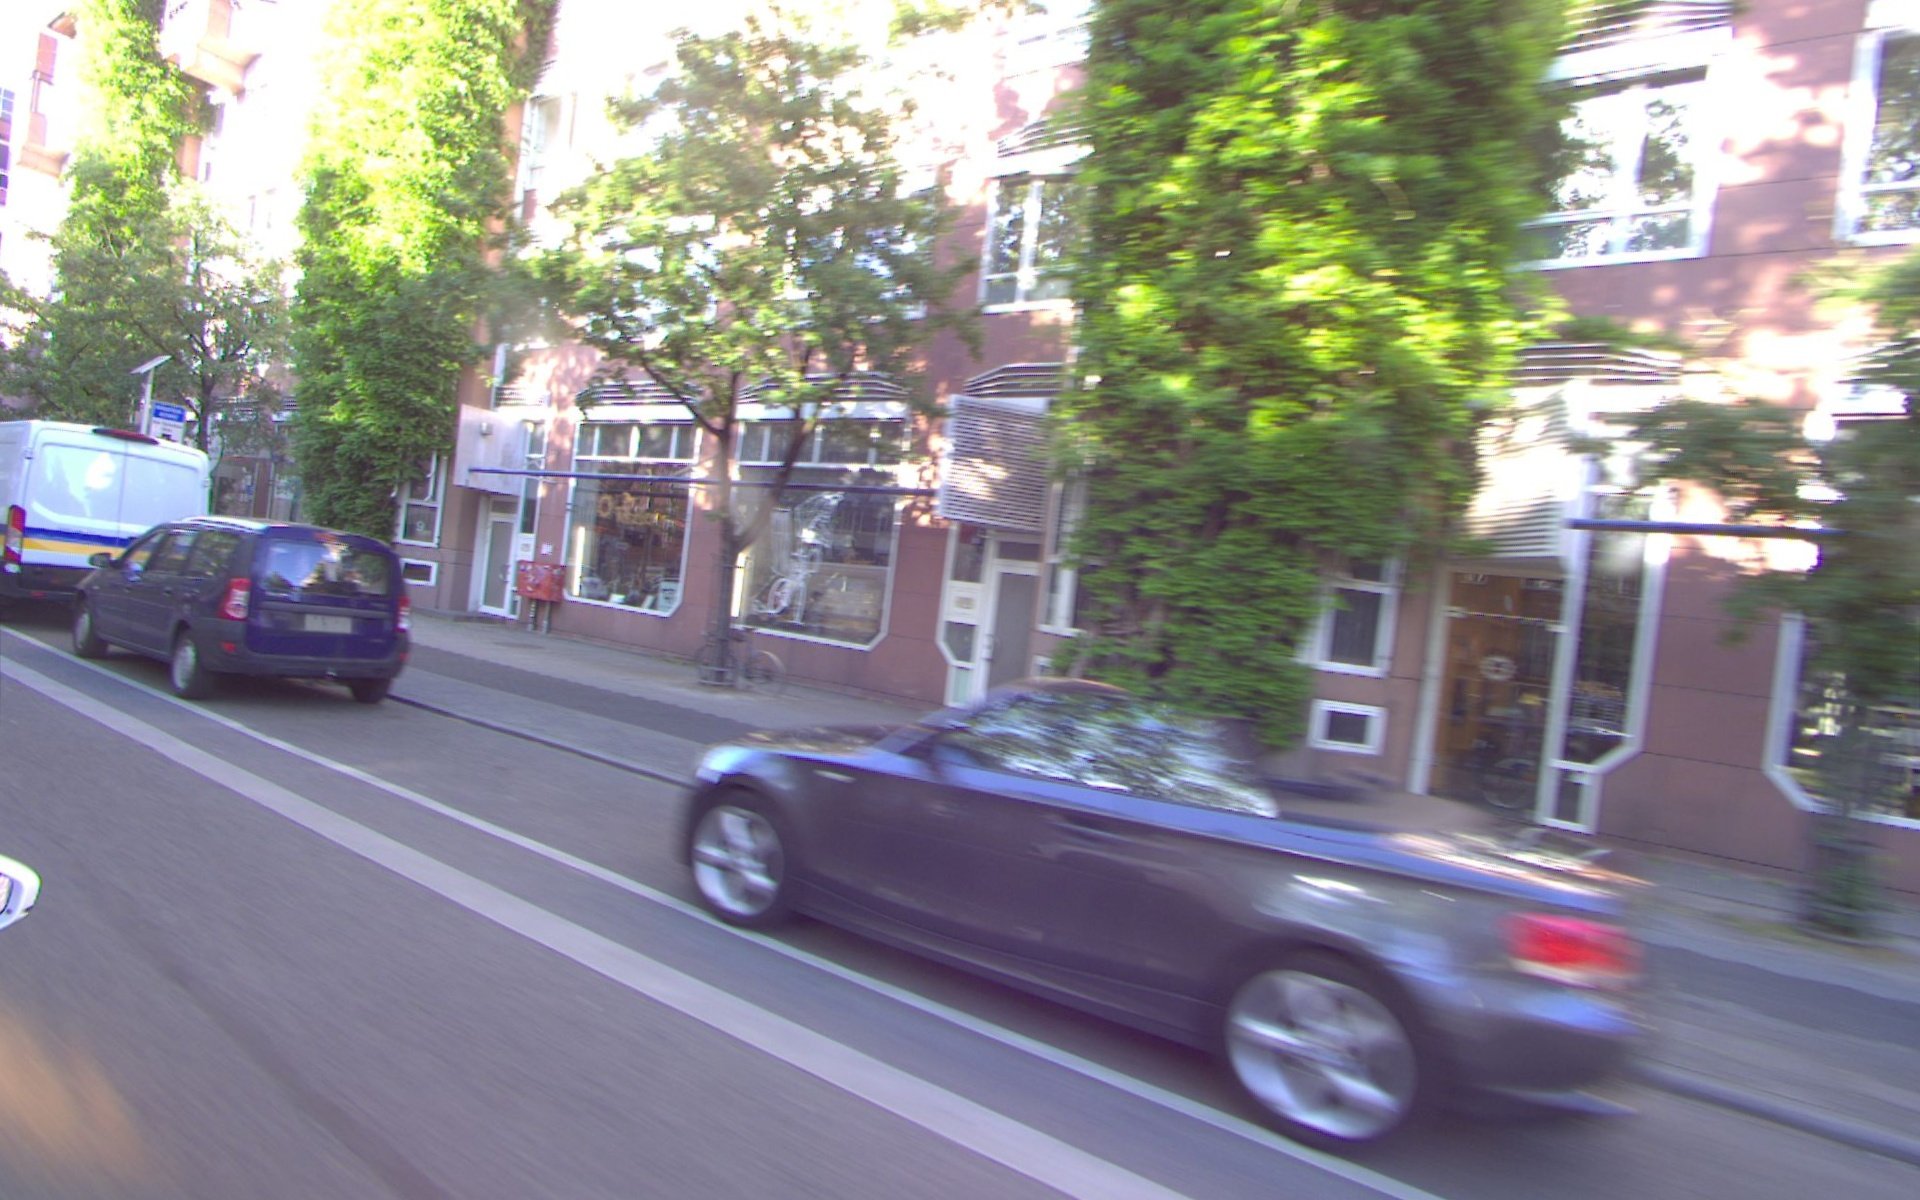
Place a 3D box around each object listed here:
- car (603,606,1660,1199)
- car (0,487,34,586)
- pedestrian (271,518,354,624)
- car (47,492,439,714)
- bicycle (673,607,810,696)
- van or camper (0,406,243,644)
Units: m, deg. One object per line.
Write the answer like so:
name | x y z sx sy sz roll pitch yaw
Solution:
car | 0.479 0.952 4.570 4.241 1.318 1.622 7 0 33
car | -17.860 -1.293 17.472 3.712 1.623 1.622 7 0 32
pedestrian | -9.673 -0.432 15.025 0.770 1.462 0.764 6 -1 44
car | -7.227 -0.044 9.985 4.413 1.639 1.621 7 0 34
bicycle | -3.182 0.733 14.602 1.880 1.033 0.619 7 0 27
van or camper | -12.206 -1.065 13.635 5.681 2.572 2.050 7 0 34
